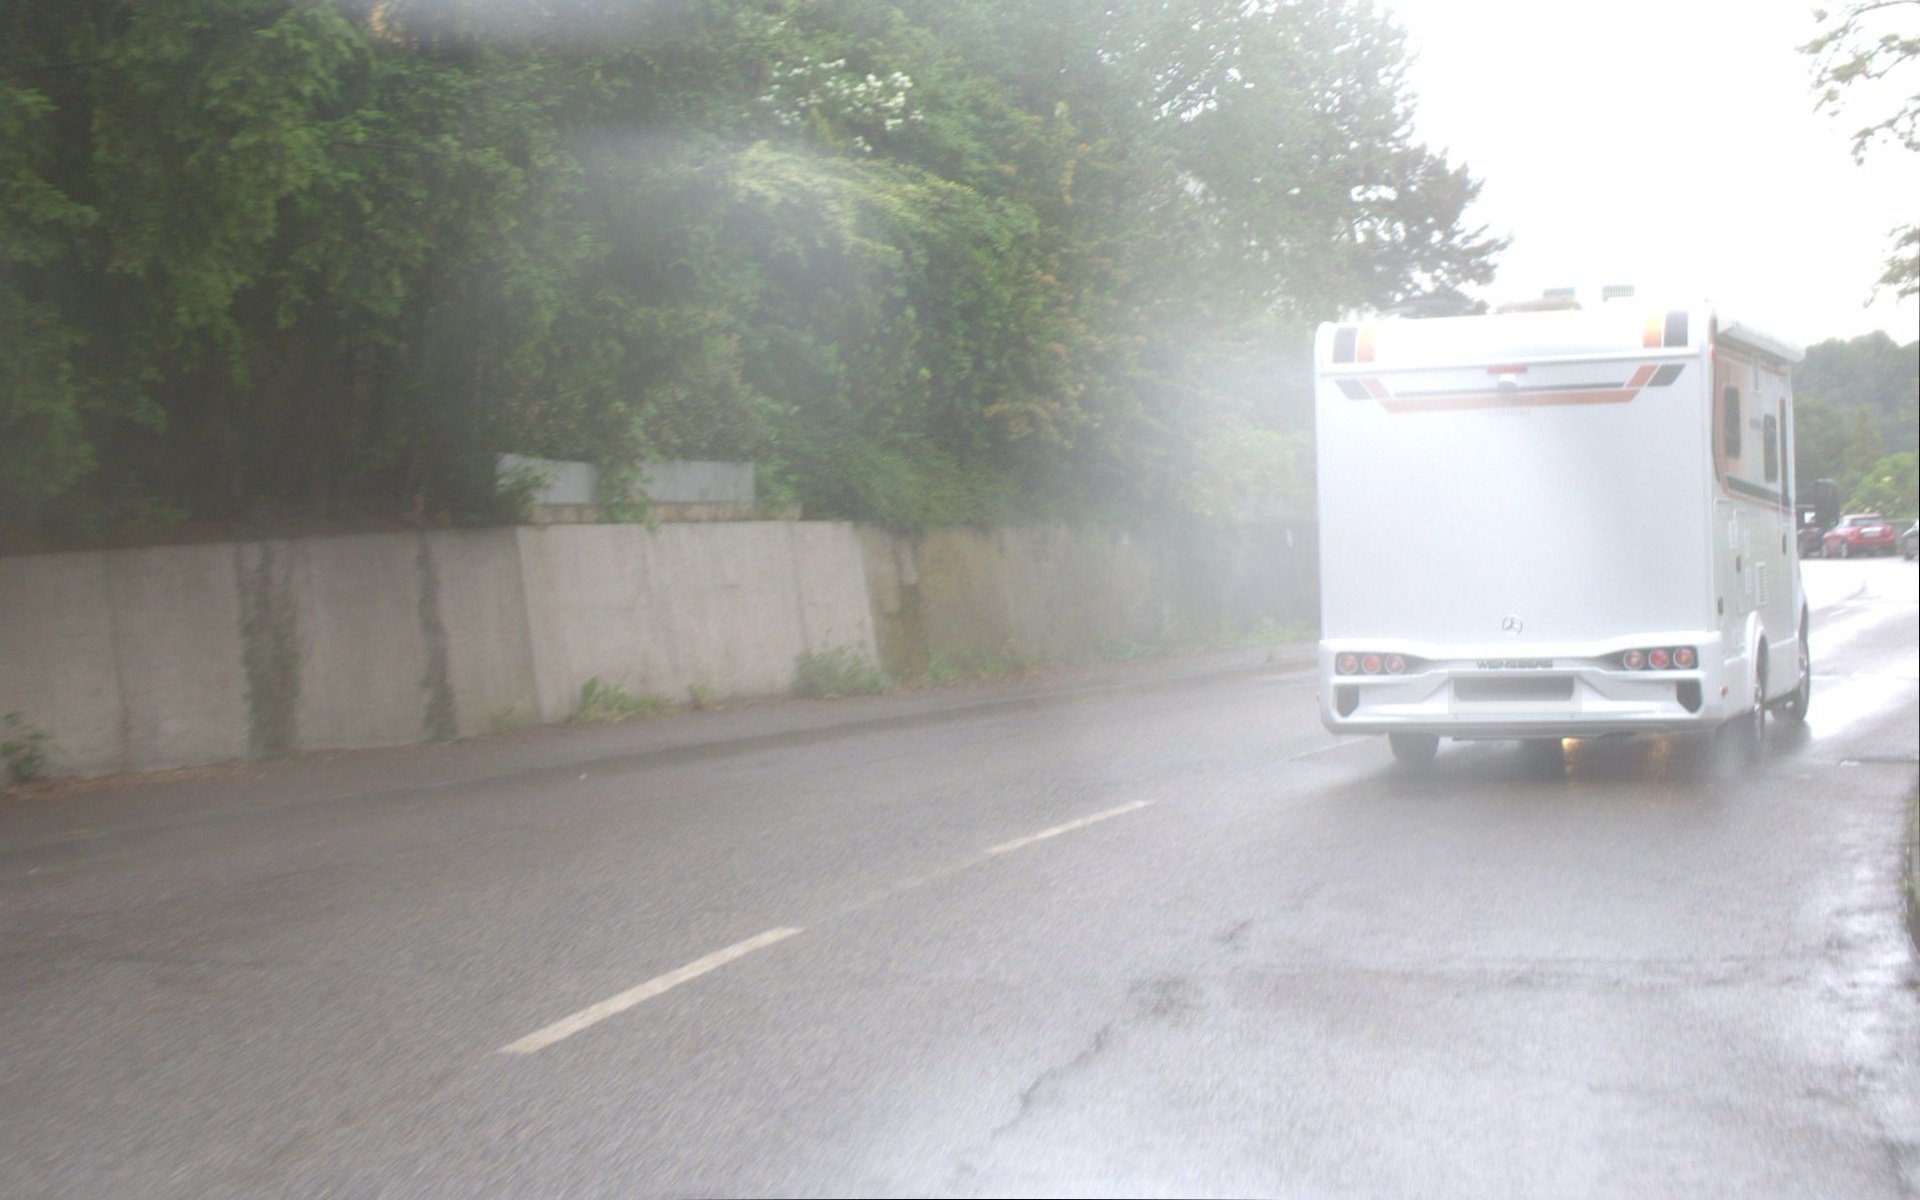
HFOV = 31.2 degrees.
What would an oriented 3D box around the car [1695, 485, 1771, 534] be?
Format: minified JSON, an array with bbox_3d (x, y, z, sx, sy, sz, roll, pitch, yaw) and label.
[{"bbox_3d":[29.467,-3.434,131.099,1.645,1.715,4.001,2,0,-5],"label":"car"}]

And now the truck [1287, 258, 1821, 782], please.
[{"bbox_3d":[3.964,-0.498,21.764,2.517,2.808,6.196,0,1,17],"label":"truck"}]

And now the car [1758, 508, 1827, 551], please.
[{"bbox_3d":[29.065,-2.458,120.085,1.540,1.322,3.999,2,0,3],"label":"car"}]

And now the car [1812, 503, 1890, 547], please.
[{"bbox_3d":[29.753,-2.492,114.839,1.540,1.322,3.865,2,0,0],"label":"car"}]

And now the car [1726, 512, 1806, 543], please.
[{"bbox_3d":[29.425,-2.652,125.617,1.645,1.097,4.001,-2,1,-5],"label":"car"}]

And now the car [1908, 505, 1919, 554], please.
[{"bbox_3d":[29.474,-2.108,102.470,1.687,1.459,3.386,-1,1,4],"label":"car"}]
